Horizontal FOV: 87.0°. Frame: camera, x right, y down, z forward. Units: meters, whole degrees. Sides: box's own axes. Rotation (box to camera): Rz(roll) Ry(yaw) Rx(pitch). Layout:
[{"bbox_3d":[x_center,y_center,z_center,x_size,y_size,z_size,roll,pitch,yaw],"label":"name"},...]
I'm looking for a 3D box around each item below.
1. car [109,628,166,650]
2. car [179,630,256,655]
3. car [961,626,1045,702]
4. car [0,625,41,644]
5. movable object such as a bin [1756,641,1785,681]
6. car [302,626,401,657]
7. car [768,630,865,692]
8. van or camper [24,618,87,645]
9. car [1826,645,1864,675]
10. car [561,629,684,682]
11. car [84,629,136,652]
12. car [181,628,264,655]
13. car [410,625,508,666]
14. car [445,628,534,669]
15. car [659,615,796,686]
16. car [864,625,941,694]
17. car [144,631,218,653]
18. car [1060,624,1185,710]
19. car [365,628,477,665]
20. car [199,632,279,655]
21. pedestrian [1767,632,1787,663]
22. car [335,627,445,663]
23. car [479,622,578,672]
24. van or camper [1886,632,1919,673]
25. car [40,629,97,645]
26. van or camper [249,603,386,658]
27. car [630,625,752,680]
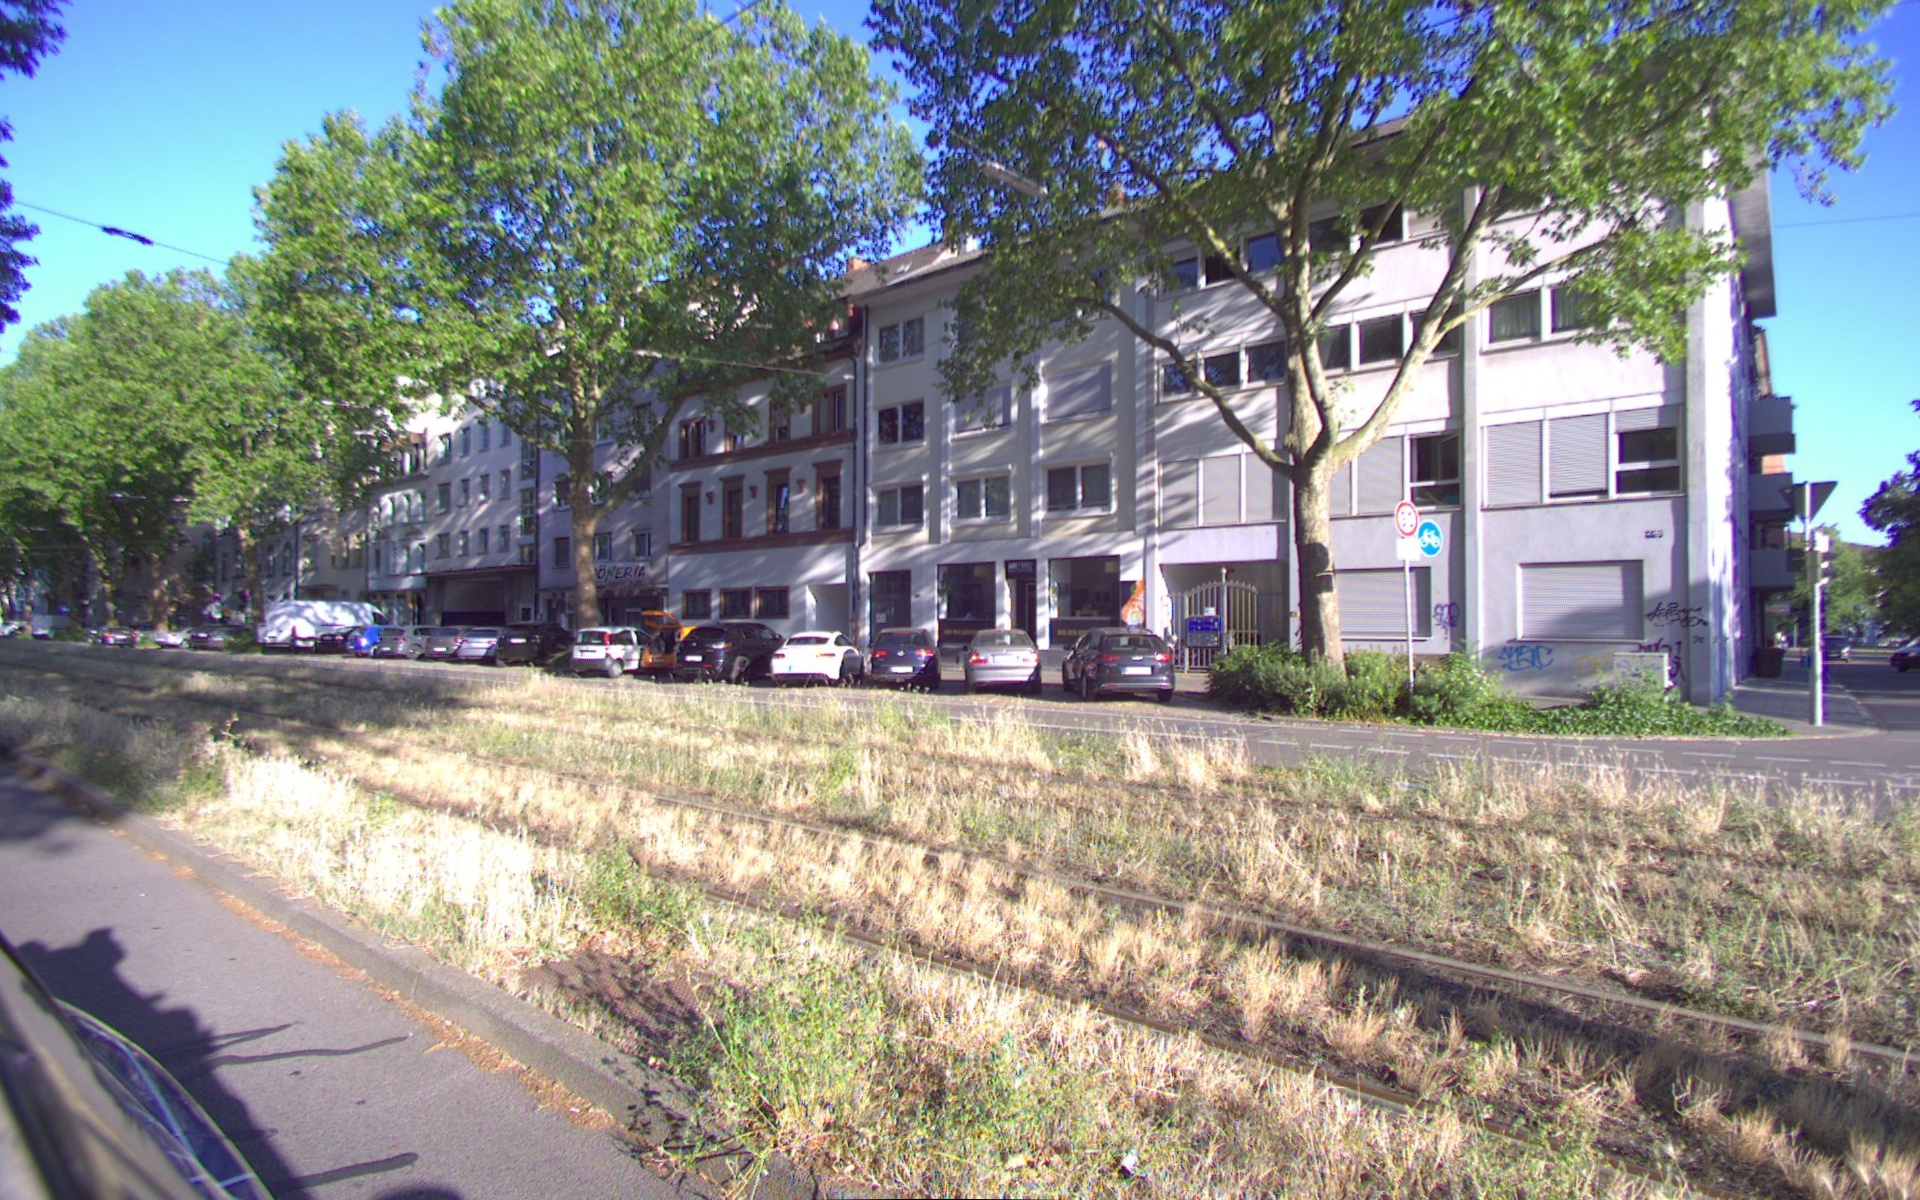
[{"bbox_3d":[-63.501,3.001,78.212,1.703,1.666,4.008,0,-2,-10],"label":"car"},{"bbox_3d":[-47.720,2.754,65.180,1.803,1.545,3.994,0,-3,4],"label":"car"},{"bbox_3d":[0.907,1.408,23.279,1.698,1.452,4.000,-1,0,-1],"label":"car"},{"bbox_3d":[-107.370,3.937,115.163,1.971,2.029,4.002,-1,0,-2],"label":"car"},{"bbox_3d":[27.833,2.085,34.742,0.745,1.315,0.861,-1,-2,39],"label":"movable object such as a bin"},{"bbox_3d":[-30.737,2.114,51.260,1.984,1.502,3.975,-1,-2,18],"label":"car"},{"bbox_3d":[-3.687,1.558,26.689,1.700,1.343,4.200,-1,0,4],"label":"car"},{"bbox_3d":[-88.312,3.050,98.899,2.171,2.418,4.364,-1,1,0],"label":"van or camper"},{"bbox_3d":[63.370,4.241,72.466,1.999,2.029,3.945,-1,-2,41],"label":"car"},{"bbox_3d":[-10.455,1.671,31.698,1.643,1.460,4.345,0,-1,14],"label":"car"},{"bbox_3d":[-56.631,2.682,67.394,4.480,1.400,1.802,-1,-4,40],"label":"car"},{"bbox_3d":[-45.521,2.579,62.552,1.912,1.605,4.155,0,-4,4],"label":"car"},{"bbox_3d":[-20.531,1.835,41.672,1.735,1.433,3.993,-1,0,6],"label":"car"},{"bbox_3d":[-18.289,1.862,39.552,1.883,1.396,4.004,-1,-1,-5],"label":"car"},{"bbox_3d":[-6.452,1.446,28.608,1.975,1.800,4.343,1,-3,14],"label":"car"},{"bbox_3d":[-1.434,1.445,25.684,1.776,1.452,4.002,-1,0,-3],"label":"car"},{"bbox_3d":[-51.777,2.797,67.346,1.806,1.400,3.670,0,-2,9],"label":"car"},{"bbox_3d":[3.302,1.323,21.290,1.791,1.490,4.002,-1,0,-2],"label":"car"},{"bbox_3d":[-23.594,2.015,44.438,1.941,1.503,3.964,-1,-2,27],"label":"car"},{"bbox_3d":[-42.993,2.609,60.451,1.778,1.368,4.002,0,-3,3],"label":"car"},{"bbox_3d":[45.871,2.666,56.827,0.684,1.764,0.638,-1,-2,21],"label":"pedestrian"},{"bbox_3d":[-25.953,2.010,46.193,1.854,1.431,3.951,-1,0,36],"label":"car"},{"bbox_3d":[-15.674,1.658,37.020,1.972,1.673,4.000,-1,-1,-1],"label":"car"},{"bbox_3d":[50.135,2.628,50.787,5.076,2.029,1.995,0,-2,9],"label":"van or camper"},{"bbox_3d":[-86.007,3.586,97.696,1.709,1.256,3.993,-1,1,6],"label":"car"},{"bbox_3d":[-33.102,1.575,52.371,2.162,2.666,5.929,-1,-2,19],"label":"van or camper"},{"bbox_3d":[-8.354,1.603,31.797,1.764,1.490,3.974,-1,0,20],"label":"car"}]
